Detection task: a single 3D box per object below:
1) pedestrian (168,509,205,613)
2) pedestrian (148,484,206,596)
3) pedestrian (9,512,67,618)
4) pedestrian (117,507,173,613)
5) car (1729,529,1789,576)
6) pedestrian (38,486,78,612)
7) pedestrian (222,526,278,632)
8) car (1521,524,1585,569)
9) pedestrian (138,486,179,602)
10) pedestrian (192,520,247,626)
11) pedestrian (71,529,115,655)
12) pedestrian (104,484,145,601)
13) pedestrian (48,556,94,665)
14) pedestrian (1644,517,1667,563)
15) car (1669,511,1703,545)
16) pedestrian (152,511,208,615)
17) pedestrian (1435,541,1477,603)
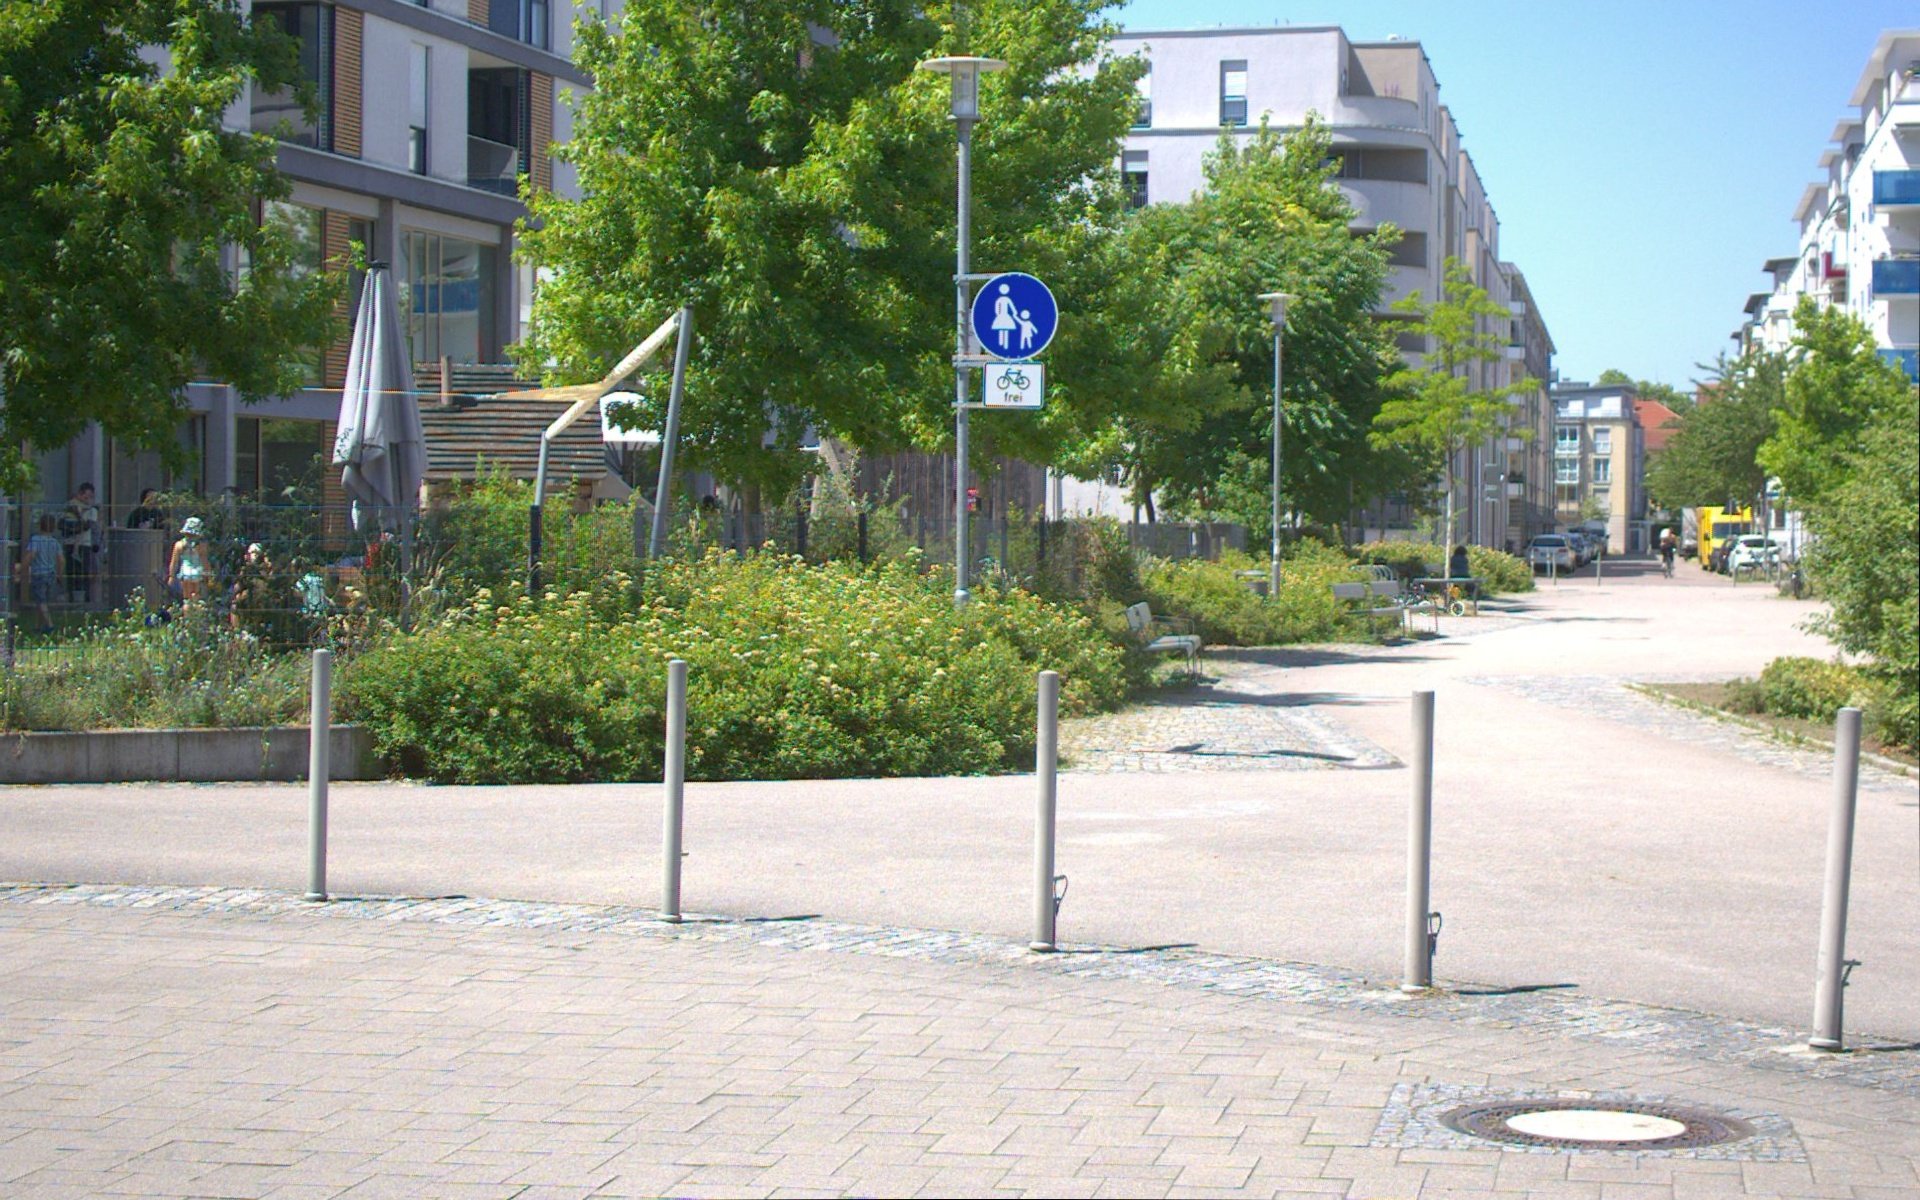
[{"bbox_3d":[-7.881,-0.397,35.021,0.321,1.050,0.290,1,1,-7],"label":"pedestrian"},{"bbox_3d":[-7.214,-0.549,31.673,0.411,1.021,0.282,2,0,-42],"label":"pedestrian"},{"bbox_3d":[-8.722,-0.331,32.519,0.369,0.983,0.412,1,0,9],"label":"pedestrian"},{"bbox_3d":[-7.945,-0.387,33.507,0.411,1.021,0.314,2,0,-42],"label":"pedestrian"},{"bbox_3d":[28.170,-1.674,121.231,1.995,1.604,3.998,1,1,13],"label":"car"},{"bbox_3d":[-12.228,-0.689,46.627,0.336,1.685,0.462,2,1,8],"label":"pedestrian"},{"bbox_3d":[-6.552,-0.192,31.726,0.387,0.968,0.290,2,1,27],"label":"pedestrian"},{"bbox_3d":[22.643,-2.017,131.239,2.147,1.646,4.086,1,1,13],"label":"car"},{"bbox_3d":[-10.432,-0.730,44.757,0.395,1.503,0.463,1,1,-26],"label":"pedestrian"},{"bbox_3d":[-7.246,-0.263,33.651,0.396,1.022,0.412,1,0,5],"label":"pedestrian"},{"bbox_3d":[-11.791,-0.110,46.767,0.395,1.685,0.462,2,1,8],"label":"pedestrian"},{"bbox_3d":[-10.850,-0.745,44.628,0.395,1.503,0.463,1,1,-26],"label":"pedestrian"},{"bbox_3d":[-12.311,0.147,47.624,0.461,1.503,0.396,1,1,-40],"label":"pedestrian"},{"bbox_3d":[23.505,-2.040,116.208,0.695,1.524,0.598,1,1,14],"label":"pedestrian"},{"bbox_3d":[45.385,-4.485,214.969,1.994,2.007,3.998,1,1,11],"label":"car"},{"bbox_3d":[-7.705,-0.365,33.960,0.411,1.021,0.314,2,0,-42],"label":"pedestrian"},{"bbox_3d":[10.917,-0.615,75.683,0.847,1.343,0.695,2,1,12],"label":"pedestrian"}]
